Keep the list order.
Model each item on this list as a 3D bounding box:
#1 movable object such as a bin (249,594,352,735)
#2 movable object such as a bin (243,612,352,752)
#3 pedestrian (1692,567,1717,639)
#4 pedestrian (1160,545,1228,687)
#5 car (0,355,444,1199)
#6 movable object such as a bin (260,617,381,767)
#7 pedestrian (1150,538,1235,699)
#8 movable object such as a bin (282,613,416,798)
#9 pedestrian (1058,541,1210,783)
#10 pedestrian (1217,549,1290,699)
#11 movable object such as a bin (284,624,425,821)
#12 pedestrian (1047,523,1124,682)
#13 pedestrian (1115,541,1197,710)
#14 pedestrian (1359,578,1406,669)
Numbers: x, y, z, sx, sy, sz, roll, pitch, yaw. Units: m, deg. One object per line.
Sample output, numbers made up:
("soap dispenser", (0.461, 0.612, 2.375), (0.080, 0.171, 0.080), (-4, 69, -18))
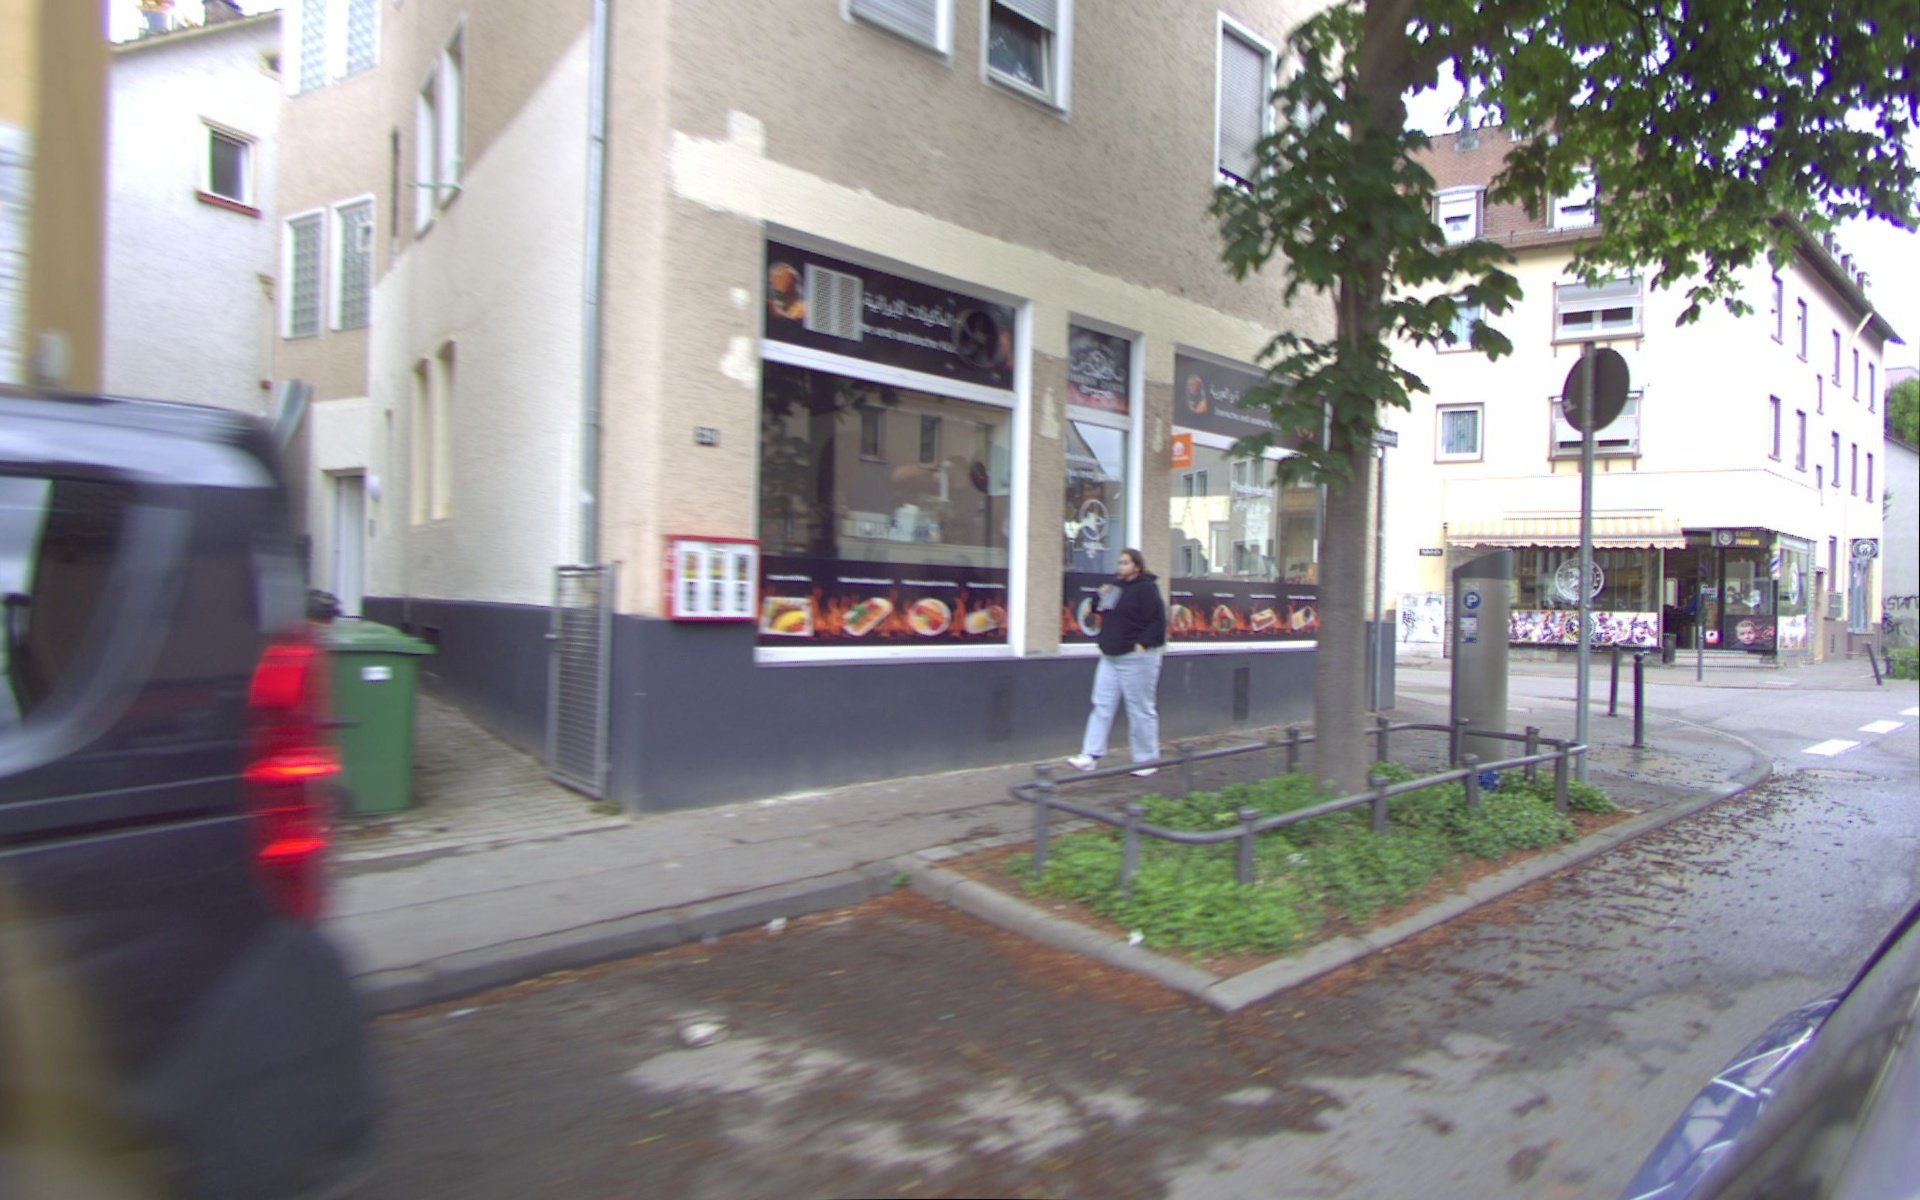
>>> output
("movable object such as a bin", (-5.457, 0.501, 8.371), (0.652, 1.074, 0.677), (0, 2, -39))
("movable object such as a bin", (-5.115, 0.605, 7.809), (0.652, 0.980, 0.597), (-1, 2, -39))
("pedestrian", (18.739, 0.083, 25.476), (0.391, 1.797, 0.385), (0, -1, 16))
("pedestrian", (2.688, 0.177, 11.633), (0.511, 1.580, 0.568), (0, -1, -40))
("car", (-3.163, 0.540, 1.097), (4.329, 1.803, 1.821), (0, 0, -43))
("movable object such as a bin", (-4.584, 0.628, 7.250), (0.652, 0.980, 0.597), (1, 1, -39))
("pedestrian", (2.375, 0.179, 10.327), (0.643, 1.580, 0.568), (0, -1, -41))
("movable object such as a bin", (-4.037, 0.654, 6.685), (0.652, 1.070, 0.661), (-3, 4, -39))
("pedestrian", (1.305, 0.425, 7.560), (0.966, 1.673, 0.615), (1, 1, -42))
("pedestrian", (3.195, 0.253, 11.037), (0.511, 1.580, 0.568), (0, -1, -40))
("movable object such as a bin", (-3.652, 0.692, 6.103), (0.652, 1.071, 0.660), (0, -1, -39))
("pedestrian", (1.297, 0.024, 10.467), (0.551, 1.580, 0.568), (0, -1, -40))
("pedestrian", (1.917, 0.239, 9.900), (0.546, 1.580, 0.568), (0, -1, -40))
("pedestrian", (8.022, 0.424, 19.251), (0.666, 1.685, 0.798), (1, 1, 13))
